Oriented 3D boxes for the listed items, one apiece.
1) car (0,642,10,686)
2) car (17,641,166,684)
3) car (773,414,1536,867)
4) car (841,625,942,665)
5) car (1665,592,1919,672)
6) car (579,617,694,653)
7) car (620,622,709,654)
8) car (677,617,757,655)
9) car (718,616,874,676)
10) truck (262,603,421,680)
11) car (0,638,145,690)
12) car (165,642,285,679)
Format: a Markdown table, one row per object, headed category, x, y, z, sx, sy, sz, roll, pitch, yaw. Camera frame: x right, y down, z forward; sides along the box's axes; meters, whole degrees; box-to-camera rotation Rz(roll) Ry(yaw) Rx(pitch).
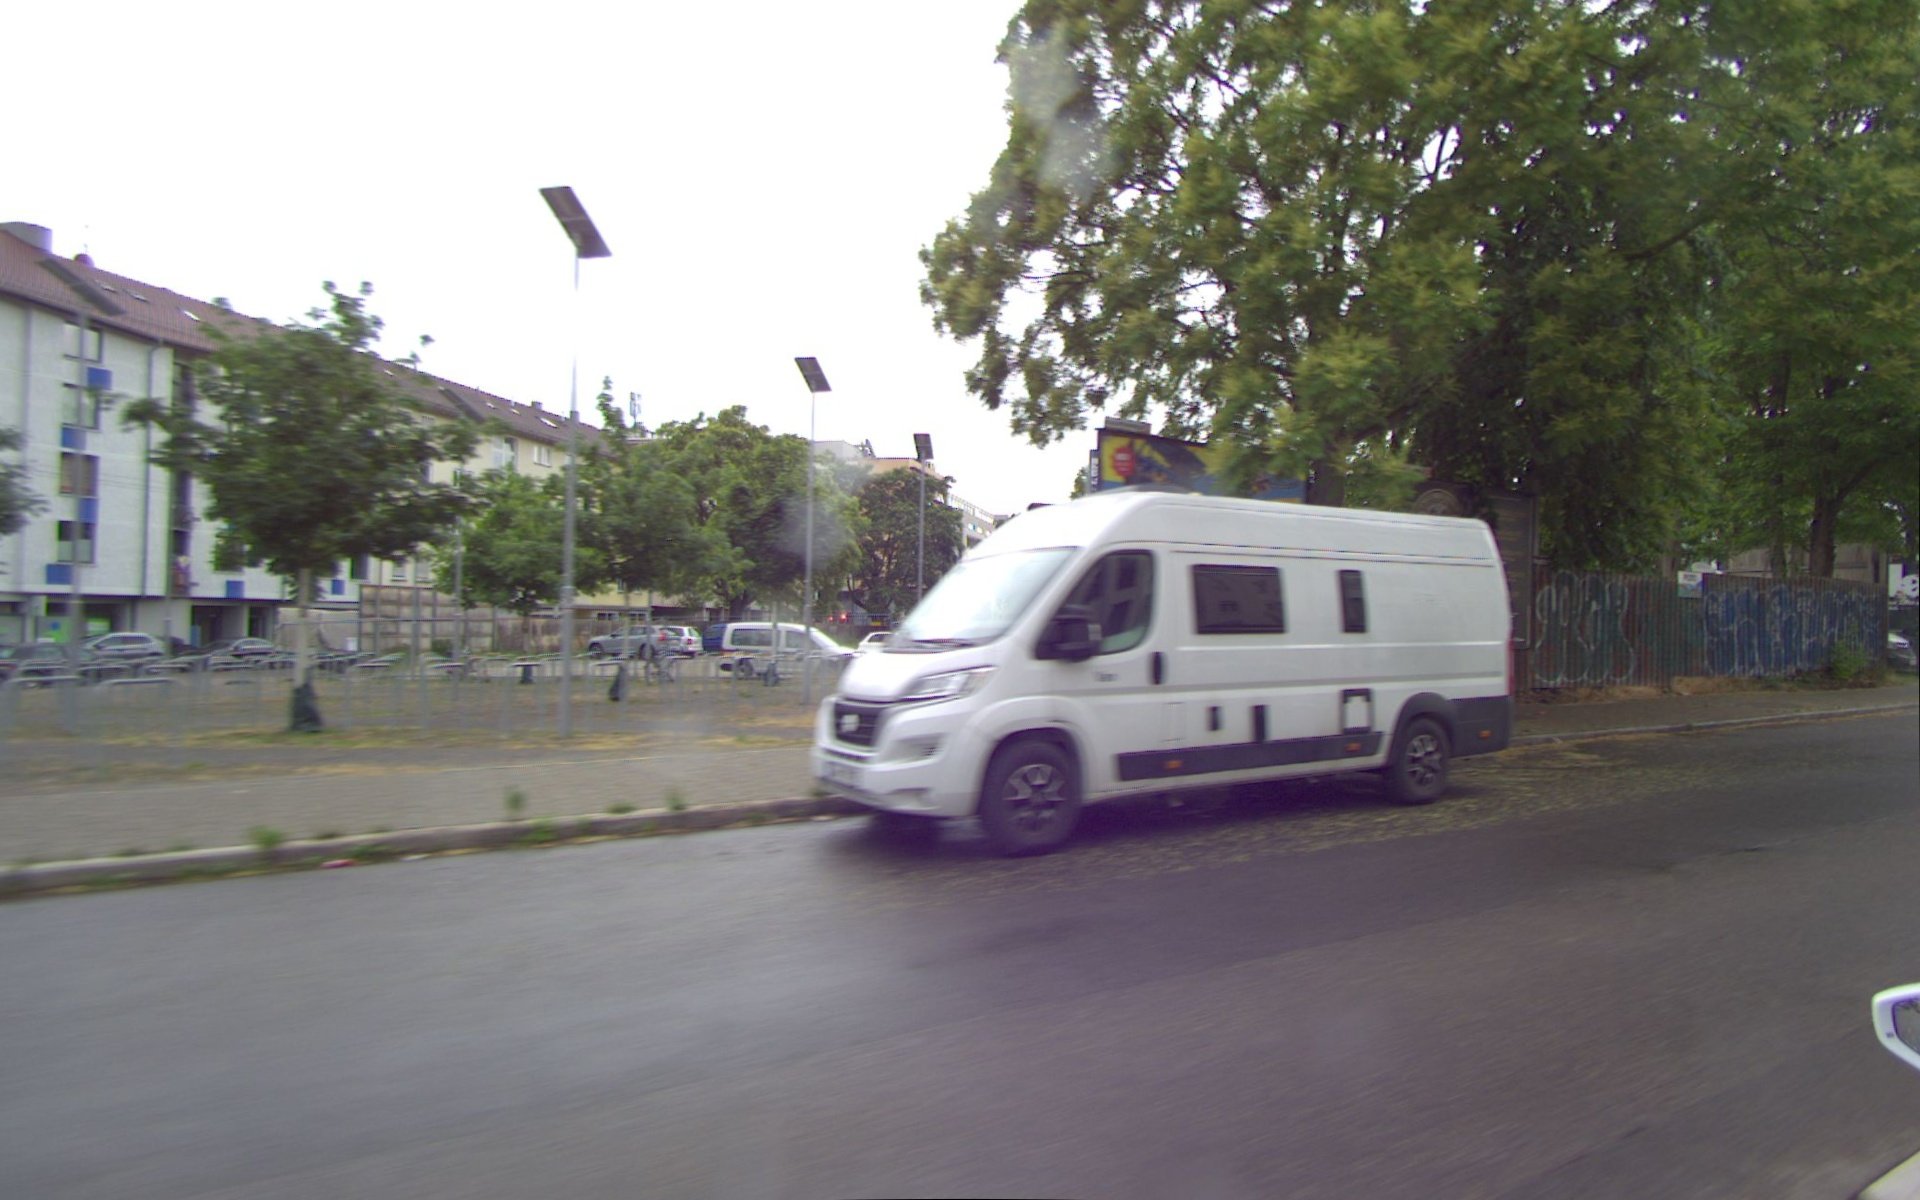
| category | x | y | z | sx | sy | sz | roll | pitch | yaw |
| --- | --- | --- | --- | --- | --- | --- | --- | --- | --- |
| car | -34.406 | 2.154 | 33.211 | 1.764 | 1.530 | 4.003 | -2 | -3 | 14 |
| car | -33.063 | 2.364 | 38.394 | 1.764 | 1.530 | 4.003 | -2 | -3 | 13 |
| car | 1.886 | 0.327 | 8.427 | 6.462 | 2.612 | 2.219 | 1 | -3 | -31 |
| car | -2.868 | 1.900 | 42.599 | 3.919 | 1.647 | 1.801 | 0 | -2 | 12 |
| car | 23.481 | 0.897 | 28.358 | 2.122 | 2.036 | 5.472 | 1 | -2 | -31 |
| car | -15.493 | 1.679 | 48.194 | 4.806 | 1.646 | 2.127 | 0 | -4 | 15 |
| car | -14.907 | 1.910 | 50.761 | 3.919 | 1.530 | 1.802 | 0 | -4 | 15 |
| car | -13.577 | 2.011 | 56.151 | 3.919 | 2.079 | 1.802 | 0 | -4 | 15 |
| car | -5.328 | 1.480 | 32.868 | 4.597 | 1.858 | 2.001 | 0 | -2 | 12 |
| truck | -25.784 | 1.753 | 42.178 | 2.724 | 2.970 | 5.294 | -2 | -3 | 13 |
| car | -28.269 | 1.981 | 31.461 | 1.764 | 1.530 | 4.003 | -2 | -3 | 14 |
| car | -31.637 | 2.579 | 43.379 | 1.764 | 1.530 | 4.003 | -2 | -3 | 13 |
